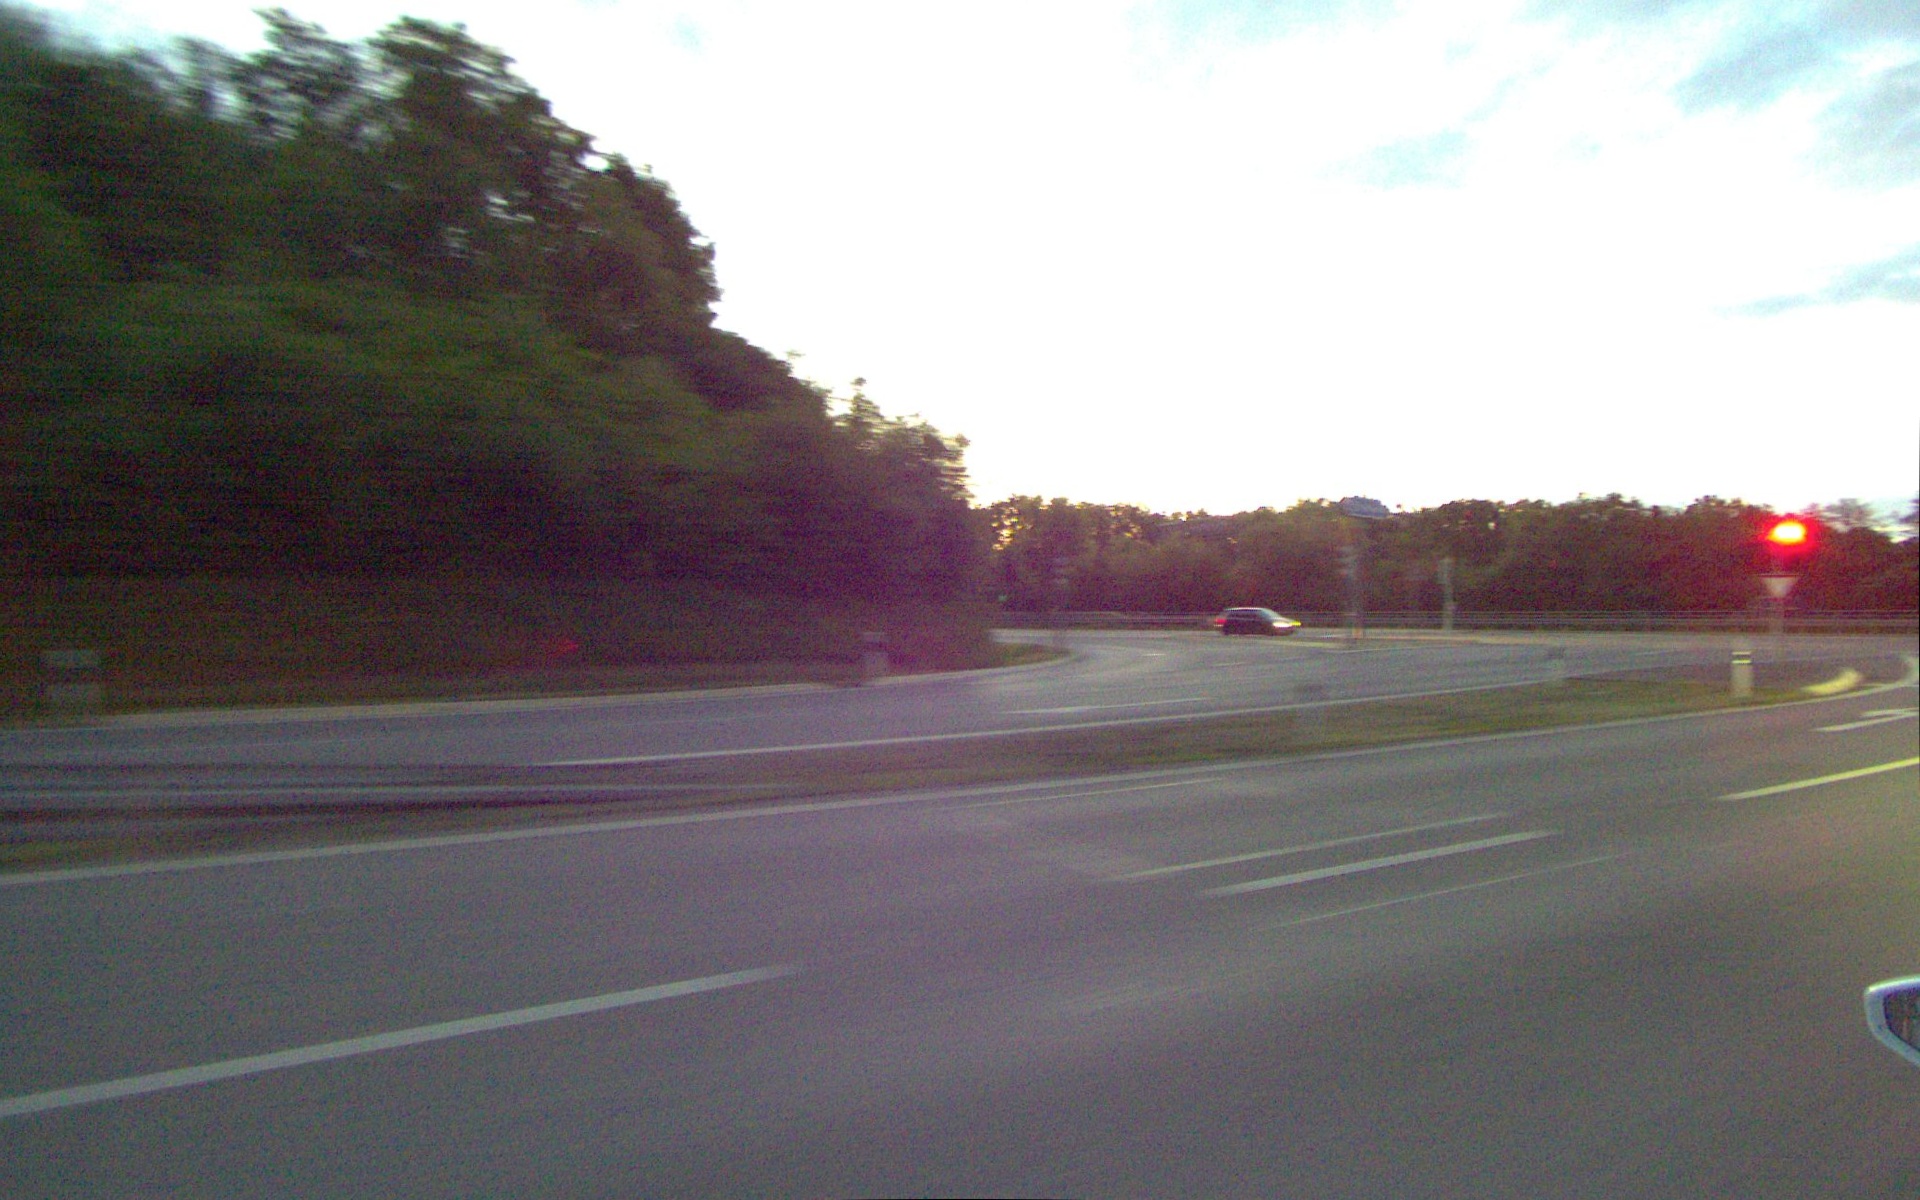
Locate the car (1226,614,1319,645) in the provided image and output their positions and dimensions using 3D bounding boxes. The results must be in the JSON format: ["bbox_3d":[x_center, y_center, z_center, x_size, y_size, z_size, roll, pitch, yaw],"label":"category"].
[{"bbox_3d":[15.482,1.464,49.841,1.987,1.472,3.948,2,-3,-44],"label":"car"}]
